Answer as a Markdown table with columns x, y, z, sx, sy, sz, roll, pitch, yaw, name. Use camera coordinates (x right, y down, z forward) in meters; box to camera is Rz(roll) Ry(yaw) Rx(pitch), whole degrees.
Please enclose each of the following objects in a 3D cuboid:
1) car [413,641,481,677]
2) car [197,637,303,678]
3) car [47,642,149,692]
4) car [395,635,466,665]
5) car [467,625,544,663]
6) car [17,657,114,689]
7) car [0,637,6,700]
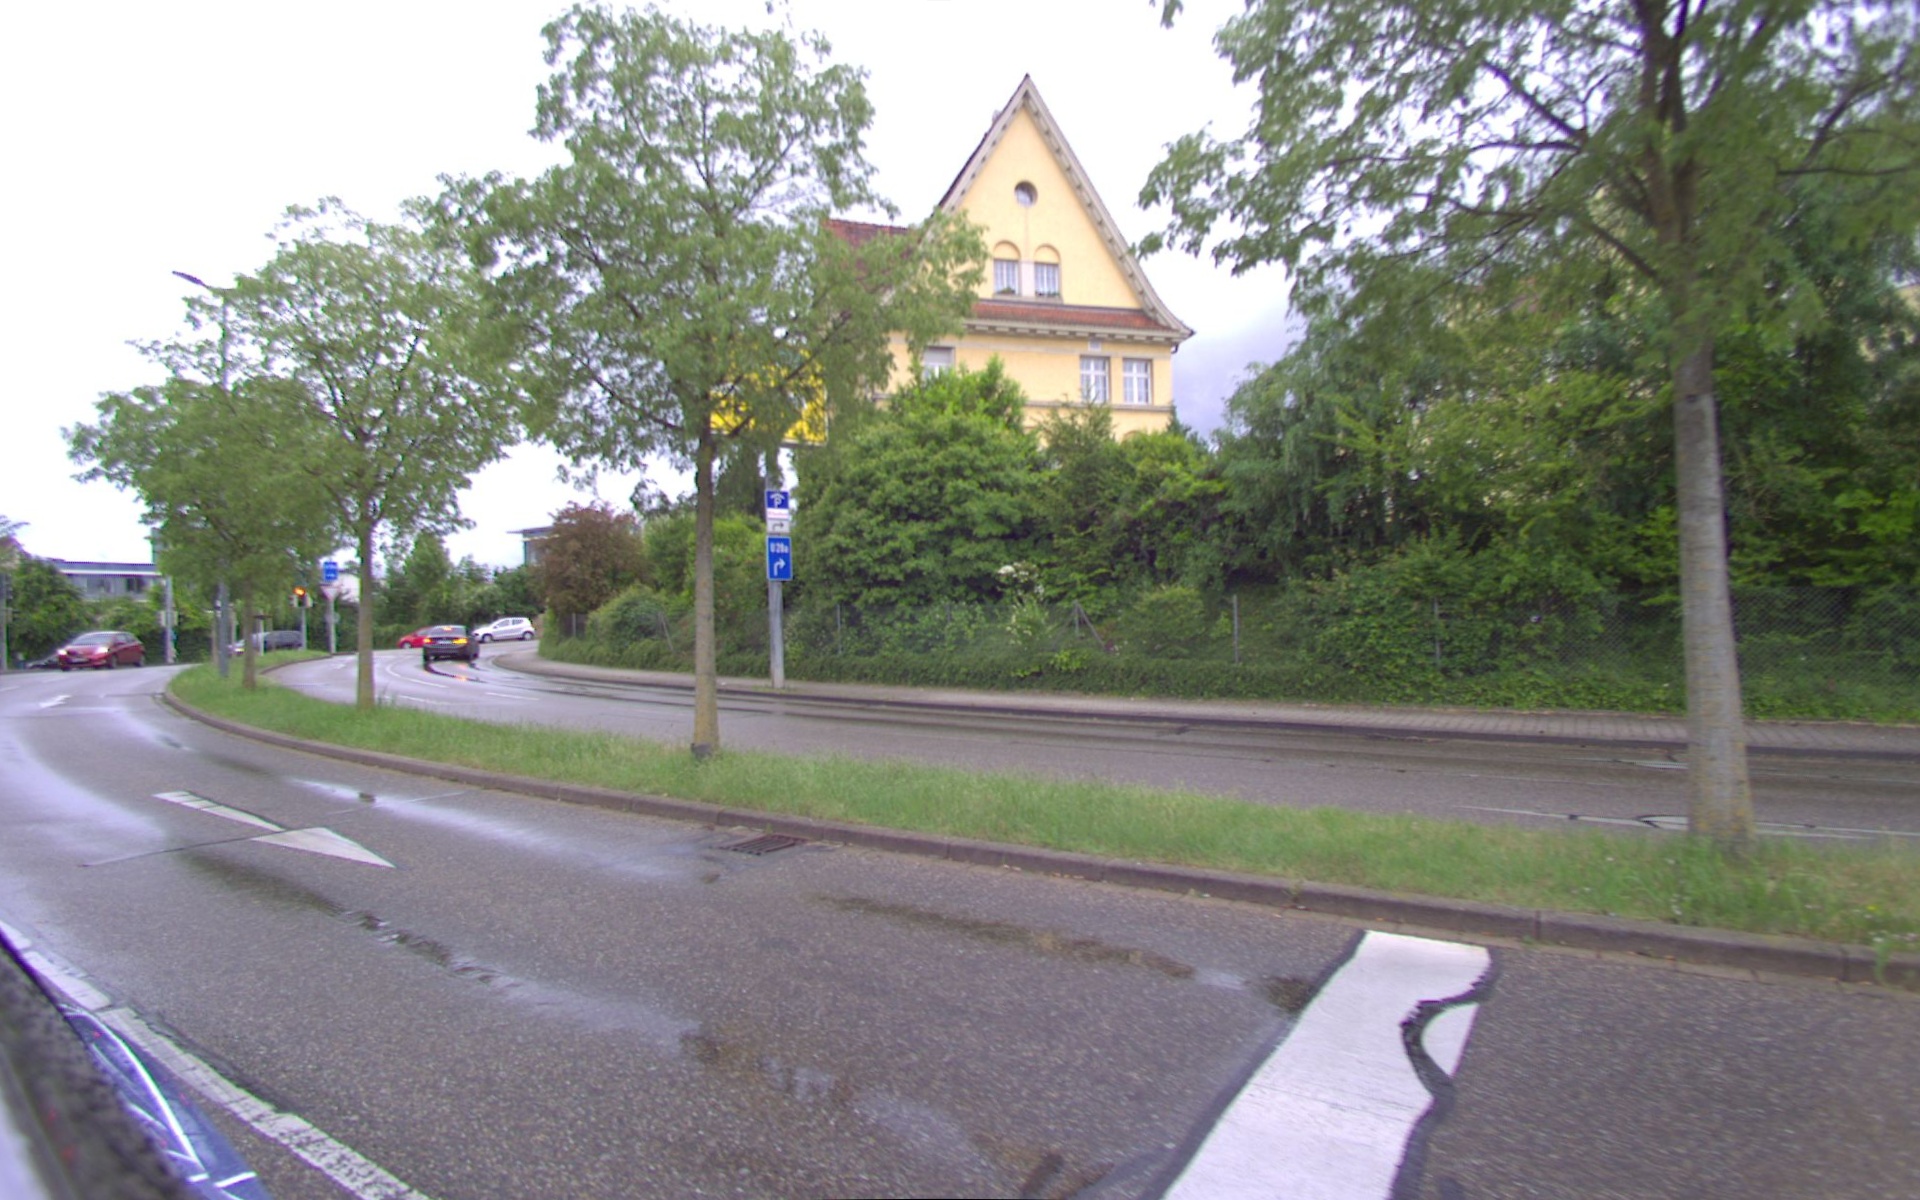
| x | y | z | sx | sy | sz | roll | pitch | yaw | name |
| --- | --- | --- | --- | --- | --- | --- | --- | --- | --- |
| -21.883 | 2.525 | 43.329 | 1.965 | 1.449 | 4.562 | 1 | -4 | -19 | car |
| -35.426 | 2.845 | 50.609 | 1.855 | 1.739 | 3.973 | -5 | -2 | 20 | car |
| -33.872 | 2.626 | 39.899 | 1.837 | 1.739 | 4.013 | -4 | -2 | -22 | car |
| -35.330 | 3.335 | 67.649 | 4.039 | 1.838 | 2.006 | -1 | -3 | -24 | car |
| -27.855 | 2.685 | 62.024 | 3.934 | 1.940 | 1.917 | -3 | -2 | -35 | car |
| -54.119 | 4.426 | 61.336 | 3.931 | 1.683 | 2.006 | -1 | -1 | -18 | car |
| -26.627 | 1.840 | 26.220 | 1.936 | 1.763 | 4.319 | -3 | -2 | -33 | car |
